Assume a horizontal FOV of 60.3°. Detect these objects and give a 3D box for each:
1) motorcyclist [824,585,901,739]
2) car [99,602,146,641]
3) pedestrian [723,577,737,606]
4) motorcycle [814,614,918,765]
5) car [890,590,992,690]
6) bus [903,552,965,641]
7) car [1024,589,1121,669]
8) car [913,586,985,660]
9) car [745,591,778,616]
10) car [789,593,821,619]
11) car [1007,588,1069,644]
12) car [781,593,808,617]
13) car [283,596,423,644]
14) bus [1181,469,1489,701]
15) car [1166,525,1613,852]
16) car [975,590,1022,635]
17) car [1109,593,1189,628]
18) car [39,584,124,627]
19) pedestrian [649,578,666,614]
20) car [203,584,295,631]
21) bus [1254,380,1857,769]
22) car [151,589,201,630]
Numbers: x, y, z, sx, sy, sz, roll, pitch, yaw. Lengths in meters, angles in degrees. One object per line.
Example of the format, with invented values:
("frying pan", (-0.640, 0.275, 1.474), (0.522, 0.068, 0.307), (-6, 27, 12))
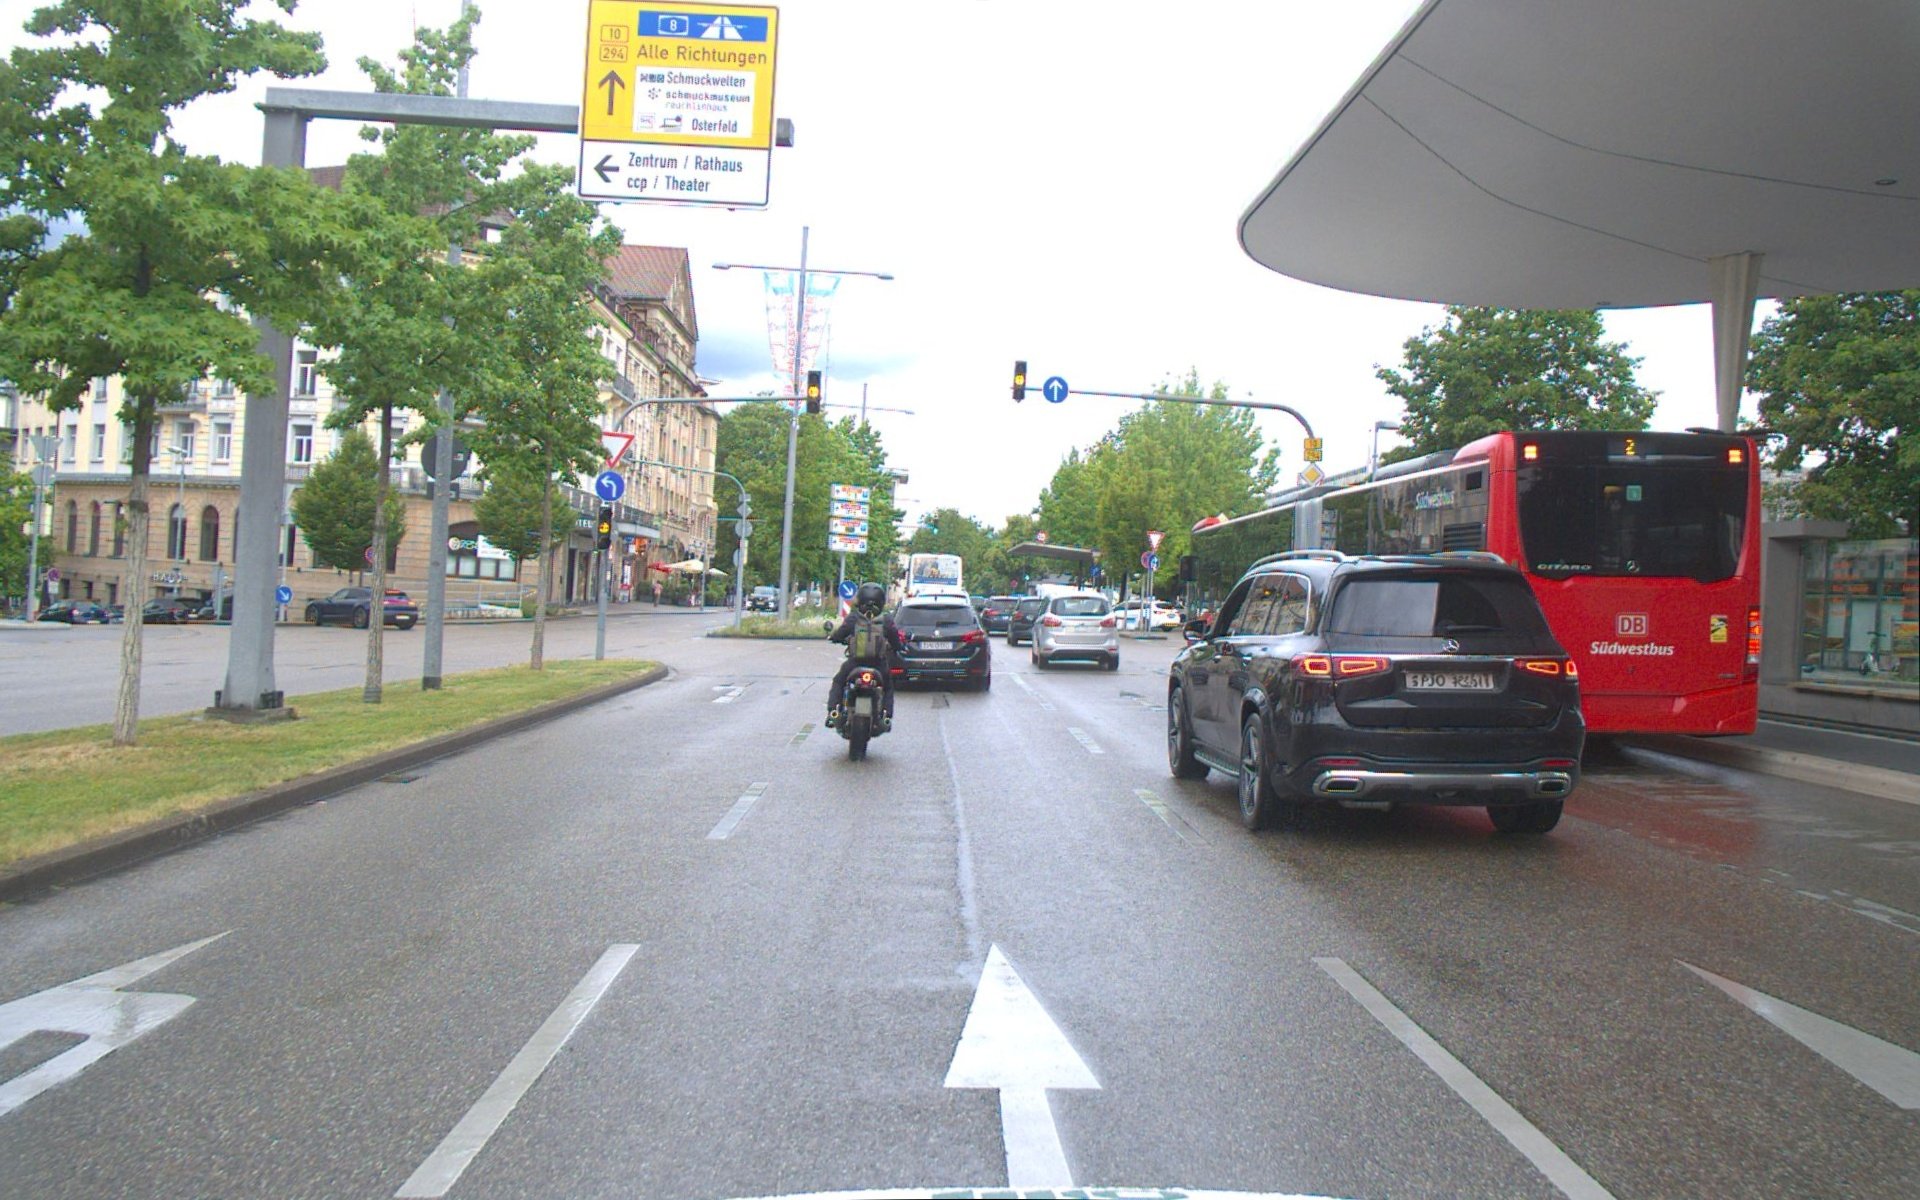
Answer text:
("motorcyclist", (-0.893, 0.560, 15.299), (0.628, 1.371, 0.689), (1, 0, 2))
("car", (-37.700, 0.930, 74.447), (1.642, 1.632, 3.218), (-1, 2, -31))
("pedestrian", (-16.086, -0.584, 115.641), (0.715, 2.000, 0.819), (1, 0, -28))
("motorcycle", (-0.839, 0.782, 15.287), (0.776, 1.284, 1.855), (0, 0, 2))
("car", (-0.312, 0.608, 27.219), (1.543, 1.531, 3.870), (0, 0, -1))
("bus", (-1.386, -0.122, 82.694), (2.780, 4.057, 11.858), (2, -1, -2))
("car", (2.334, 0.578, 35.101), (1.706, 1.594, 3.870), (0, 0, -1))
("car", (-0.279, 0.499, 37.670), (1.544, 1.594, 3.870), (0, 0, -1))
("car", (-12.606, 0.219, 105.026), (1.744, 1.594, 3.429), (0, 0, -2))
("car", (-9.656, 0.332, 103.250), (1.744, 1.594, 3.429), (0, 0, -2))
("car", (2.285, 0.454, 49.133), (1.544, 1.594, 3.870), (0, 0, -1))
("car", (-11.126, 0.300, 111.329), (1.544, 1.594, 3.429), (0, 0, -2))
("car", (-20.641, 0.652, 56.239), (4.298, 1.598, 1.823), (0, 0, 19))
("bus", (6.123, -0.221, 28.810), (3.224, 3.346, 8.847), (1, 0, -1))
("car", (2.828, 0.508, 12.143), (1.918, 1.909, 4.872), (0, 0, -1))
("car", (1.393, 0.438, 60.730), (1.544, 1.594, 3.795), (0, 0, -1))
("car", (8.966, 0.490, 78.542), (1.566, 1.594, 3.740), (0, 0, -40))
("car", (-36.235, 0.211, 68.223), (3.637, 1.656, 1.832), (2, -1, 40))
("pedestrian", (-17.700, -0.238, 96.711), (0.715, 2.049, 0.819), (1, 0, -28))
("car", (-29.104, 0.299, 67.650), (2.103, 1.807, 4.322), (2, 0, -43))
("bus", (6.215, -0.222, 20.006), (3.219, 3.349, 10.875), (1, 0, -1))
("car", (-33.695, 0.390, 71.061), (1.641, 1.632, 3.219), (-1, 2, -30))
